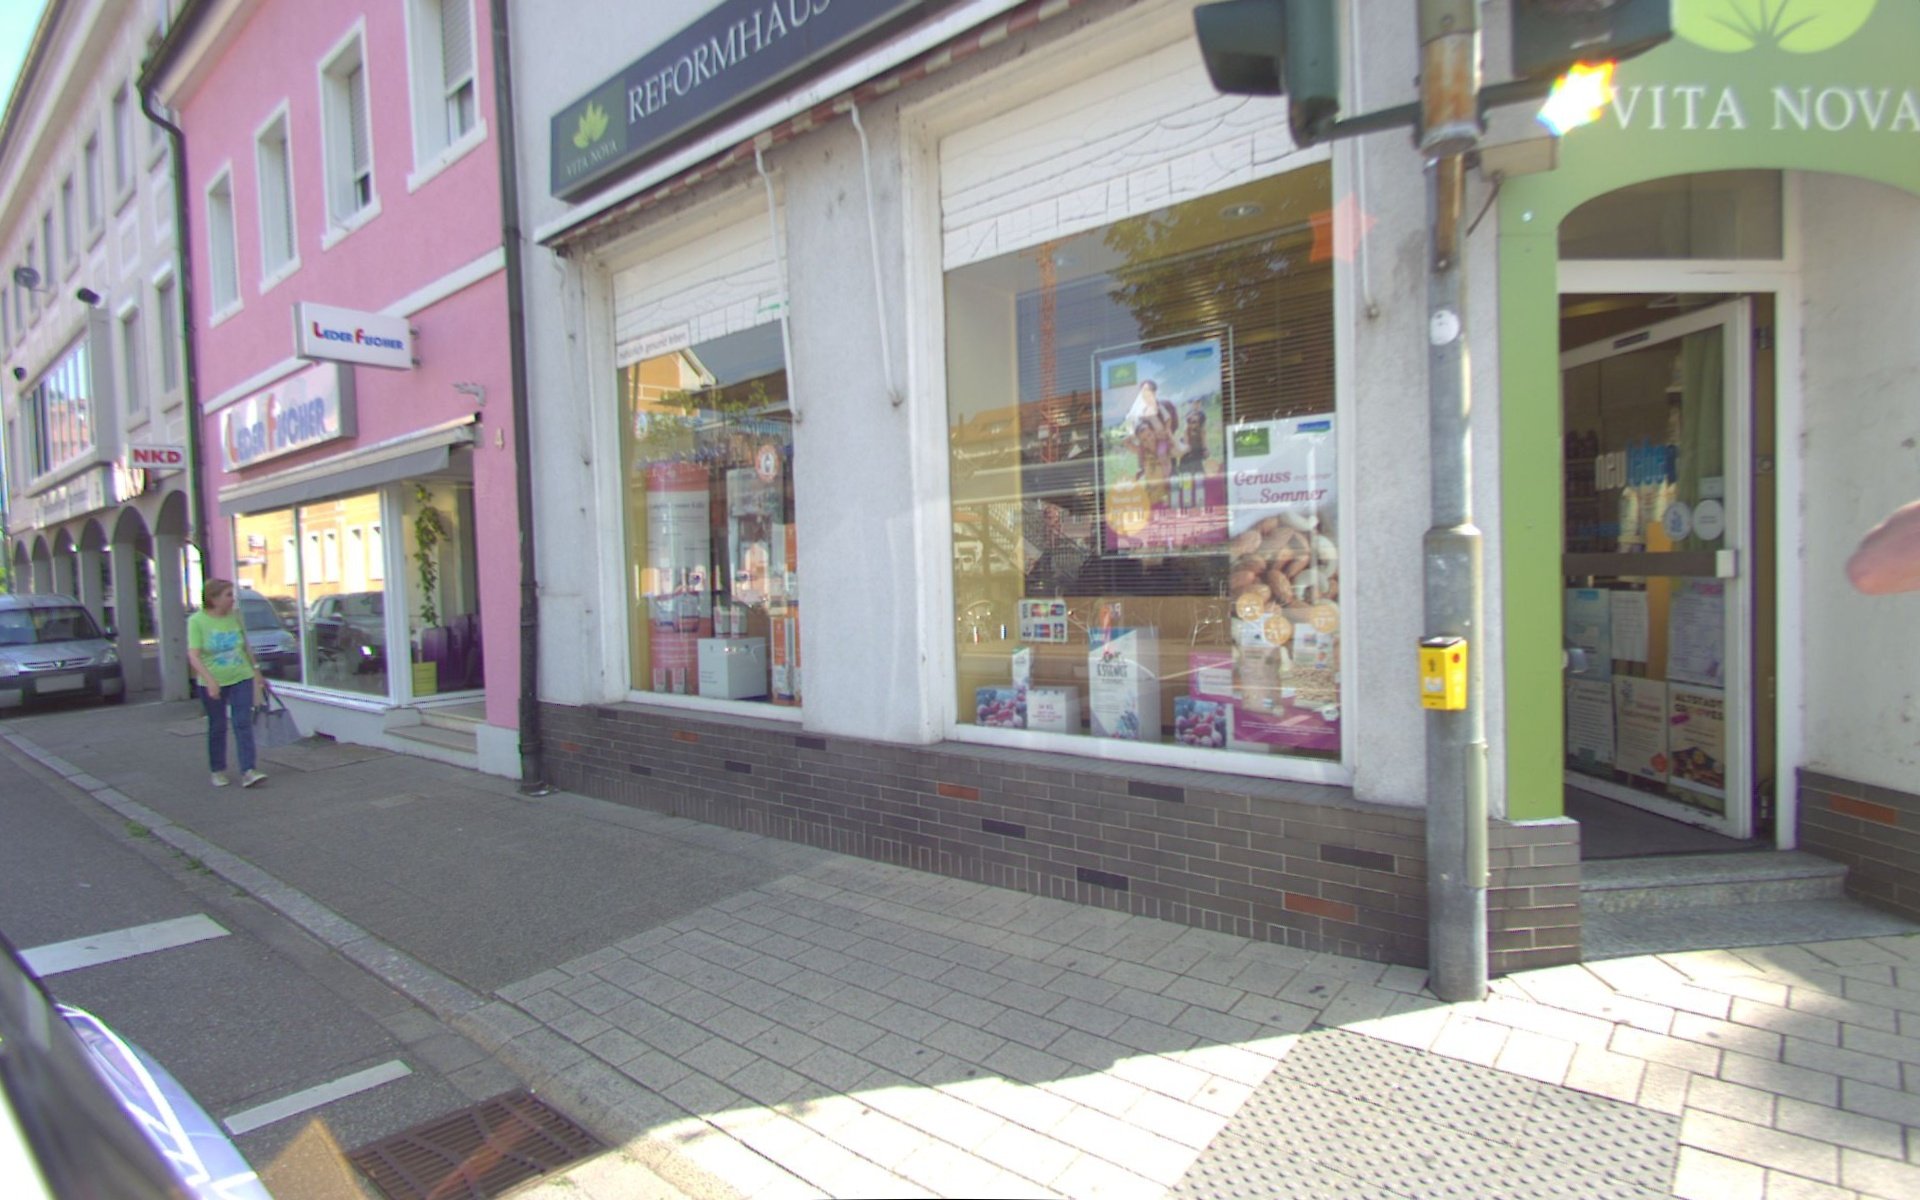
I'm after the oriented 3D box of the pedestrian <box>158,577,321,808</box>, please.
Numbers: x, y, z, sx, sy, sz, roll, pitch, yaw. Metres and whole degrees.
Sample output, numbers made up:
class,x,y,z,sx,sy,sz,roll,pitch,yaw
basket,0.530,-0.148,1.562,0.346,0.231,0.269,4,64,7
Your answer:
class,x,y,z,sx,sy,sz,roll,pitch,yaw
pedestrian,-5.645,0.675,7.933,0.859,1.644,0.777,-1,3,44

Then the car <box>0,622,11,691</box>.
class,x,y,z,sx,sy,sz,roll,pitch,yaw
car,-22.832,1.296,22.736,4.454,1.481,1.784,-2,1,42

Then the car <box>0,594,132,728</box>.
class,x,y,z,sx,sy,sz,roll,pitch,yaw
car,-14.349,0.881,15.549,4.142,1.752,1.690,-2,3,40

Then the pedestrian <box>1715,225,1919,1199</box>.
class,x,y,z,sx,sy,sz,roll,pitch,yaw
pedestrian,1.926,0.340,1.533,1.004,1.827,0.910,-7,5,-31
